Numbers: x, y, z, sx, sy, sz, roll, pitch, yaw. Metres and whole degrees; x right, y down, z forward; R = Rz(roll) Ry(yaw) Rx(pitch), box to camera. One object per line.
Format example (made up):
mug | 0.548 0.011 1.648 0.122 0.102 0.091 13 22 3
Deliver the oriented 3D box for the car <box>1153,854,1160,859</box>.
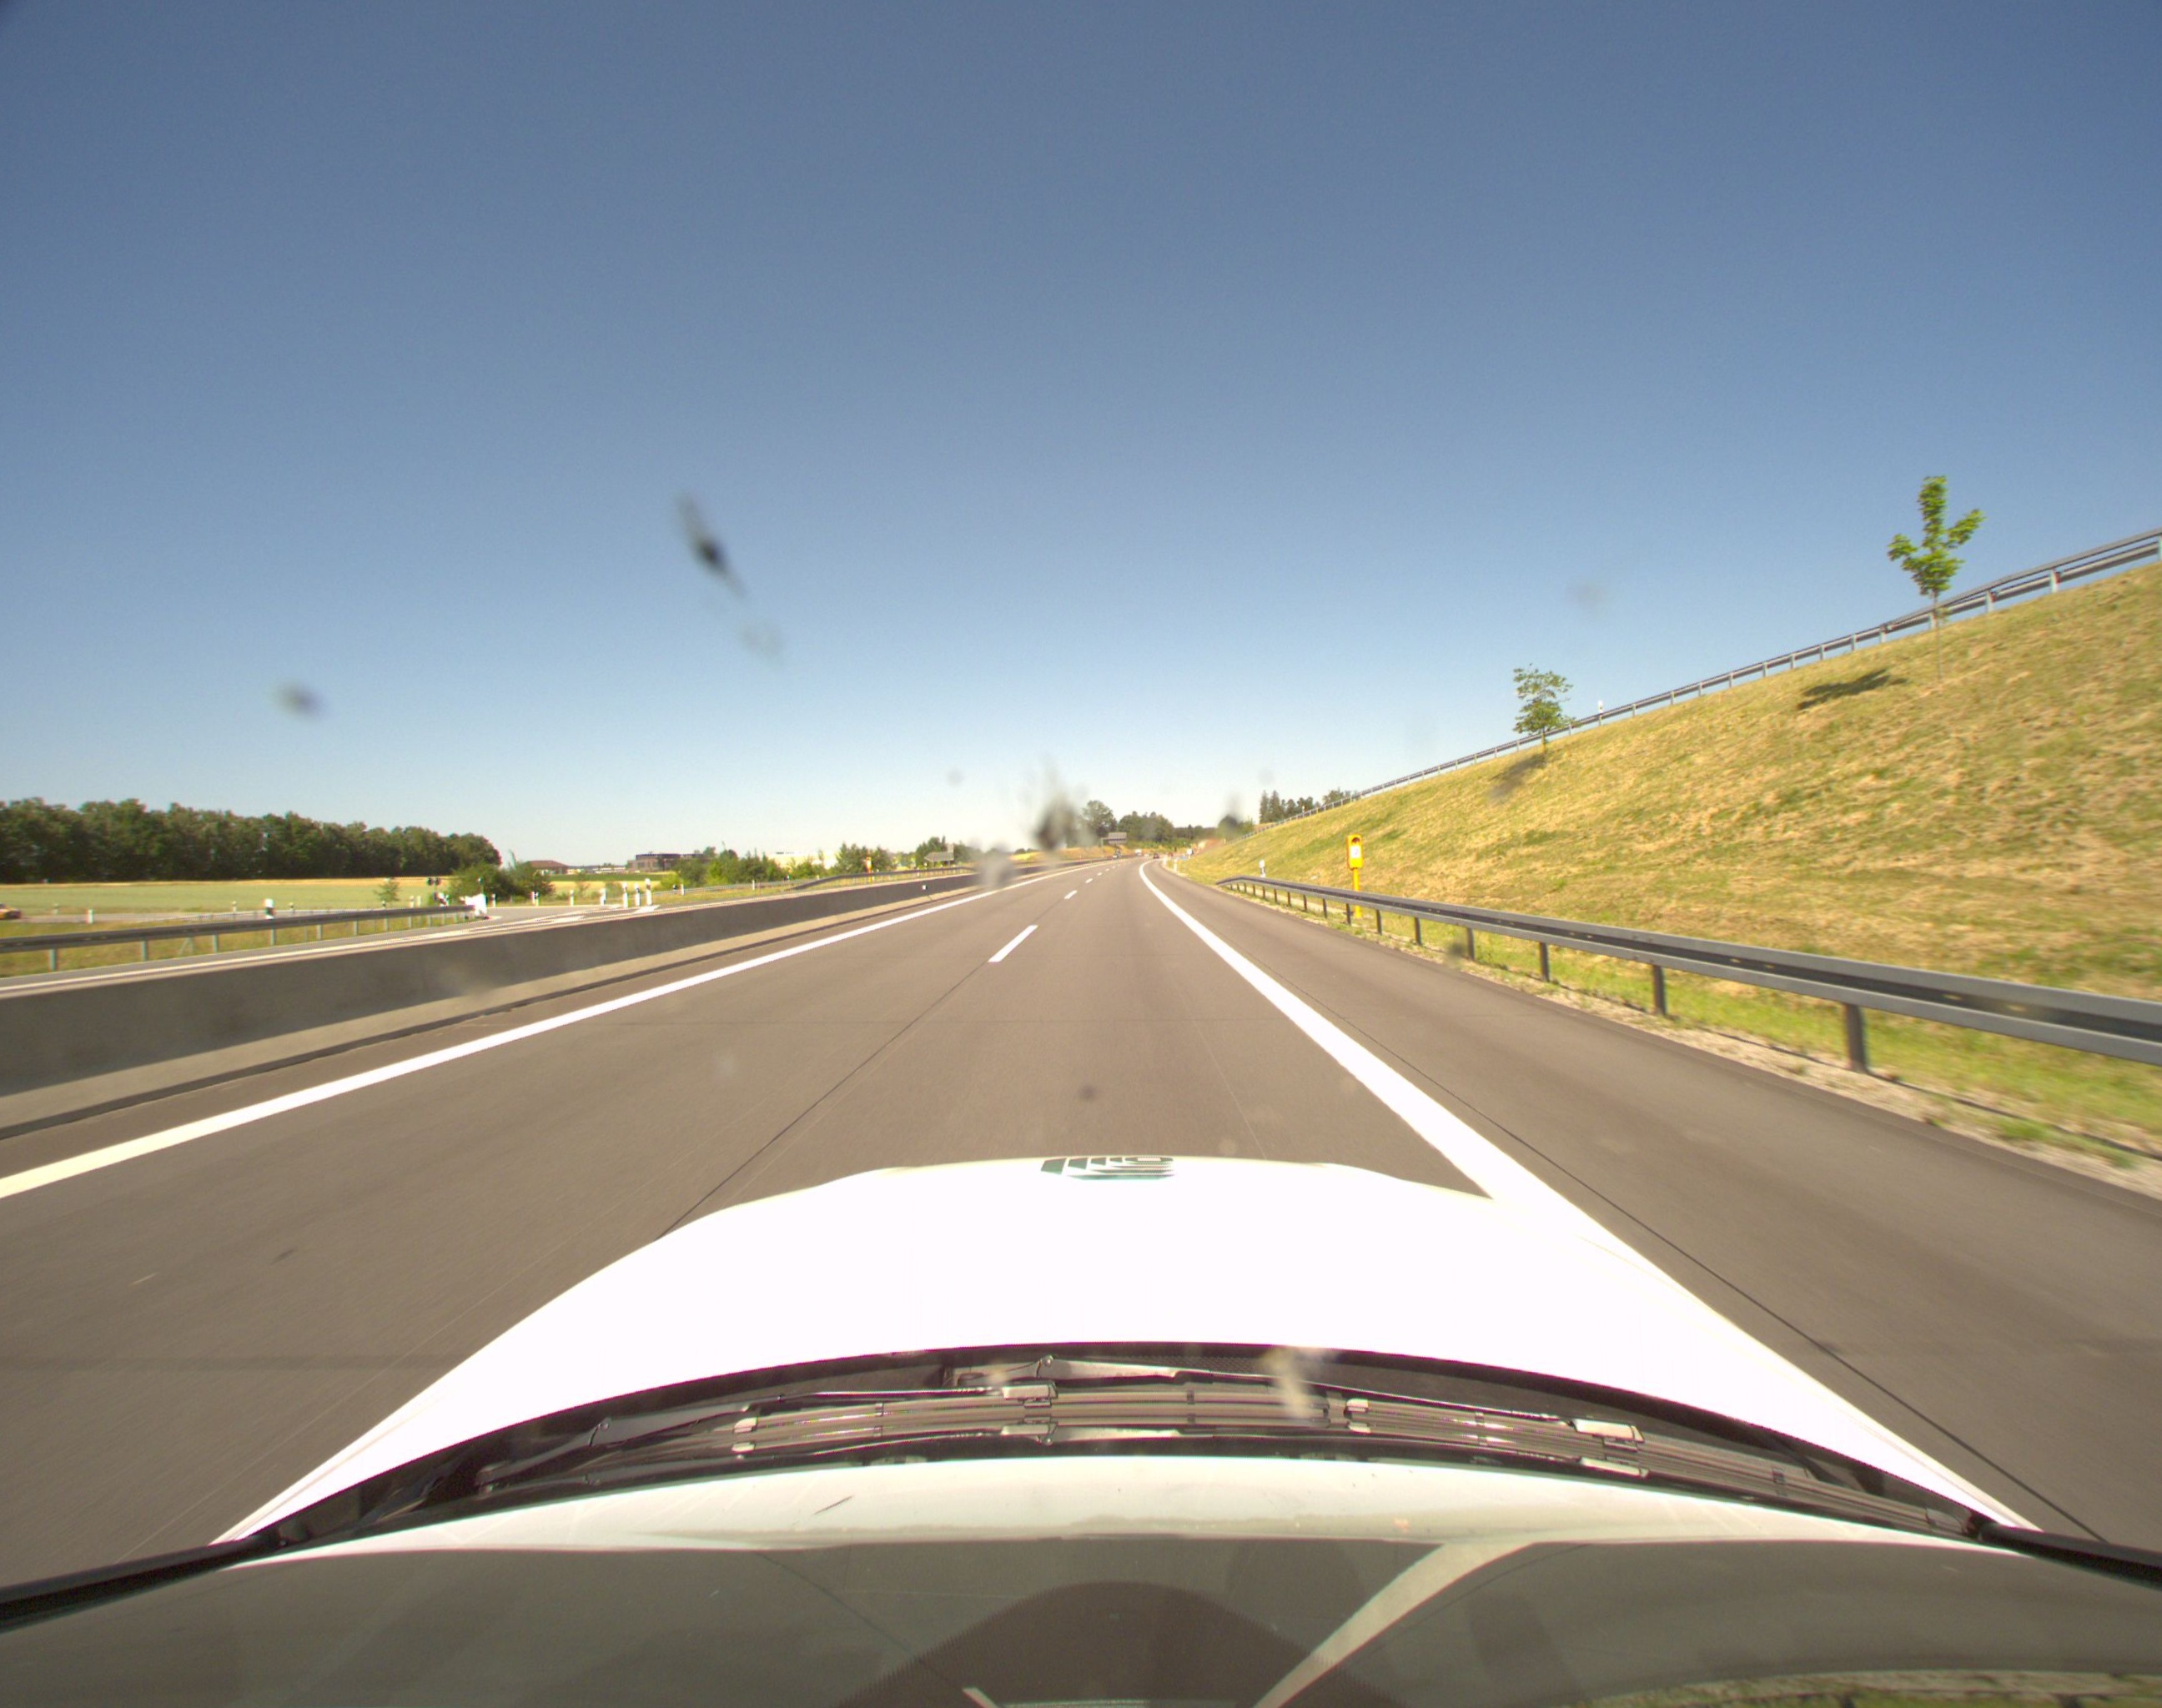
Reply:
car | 22.912 0.805 247.234 1.982 1.420 4.010 -3 0 9
